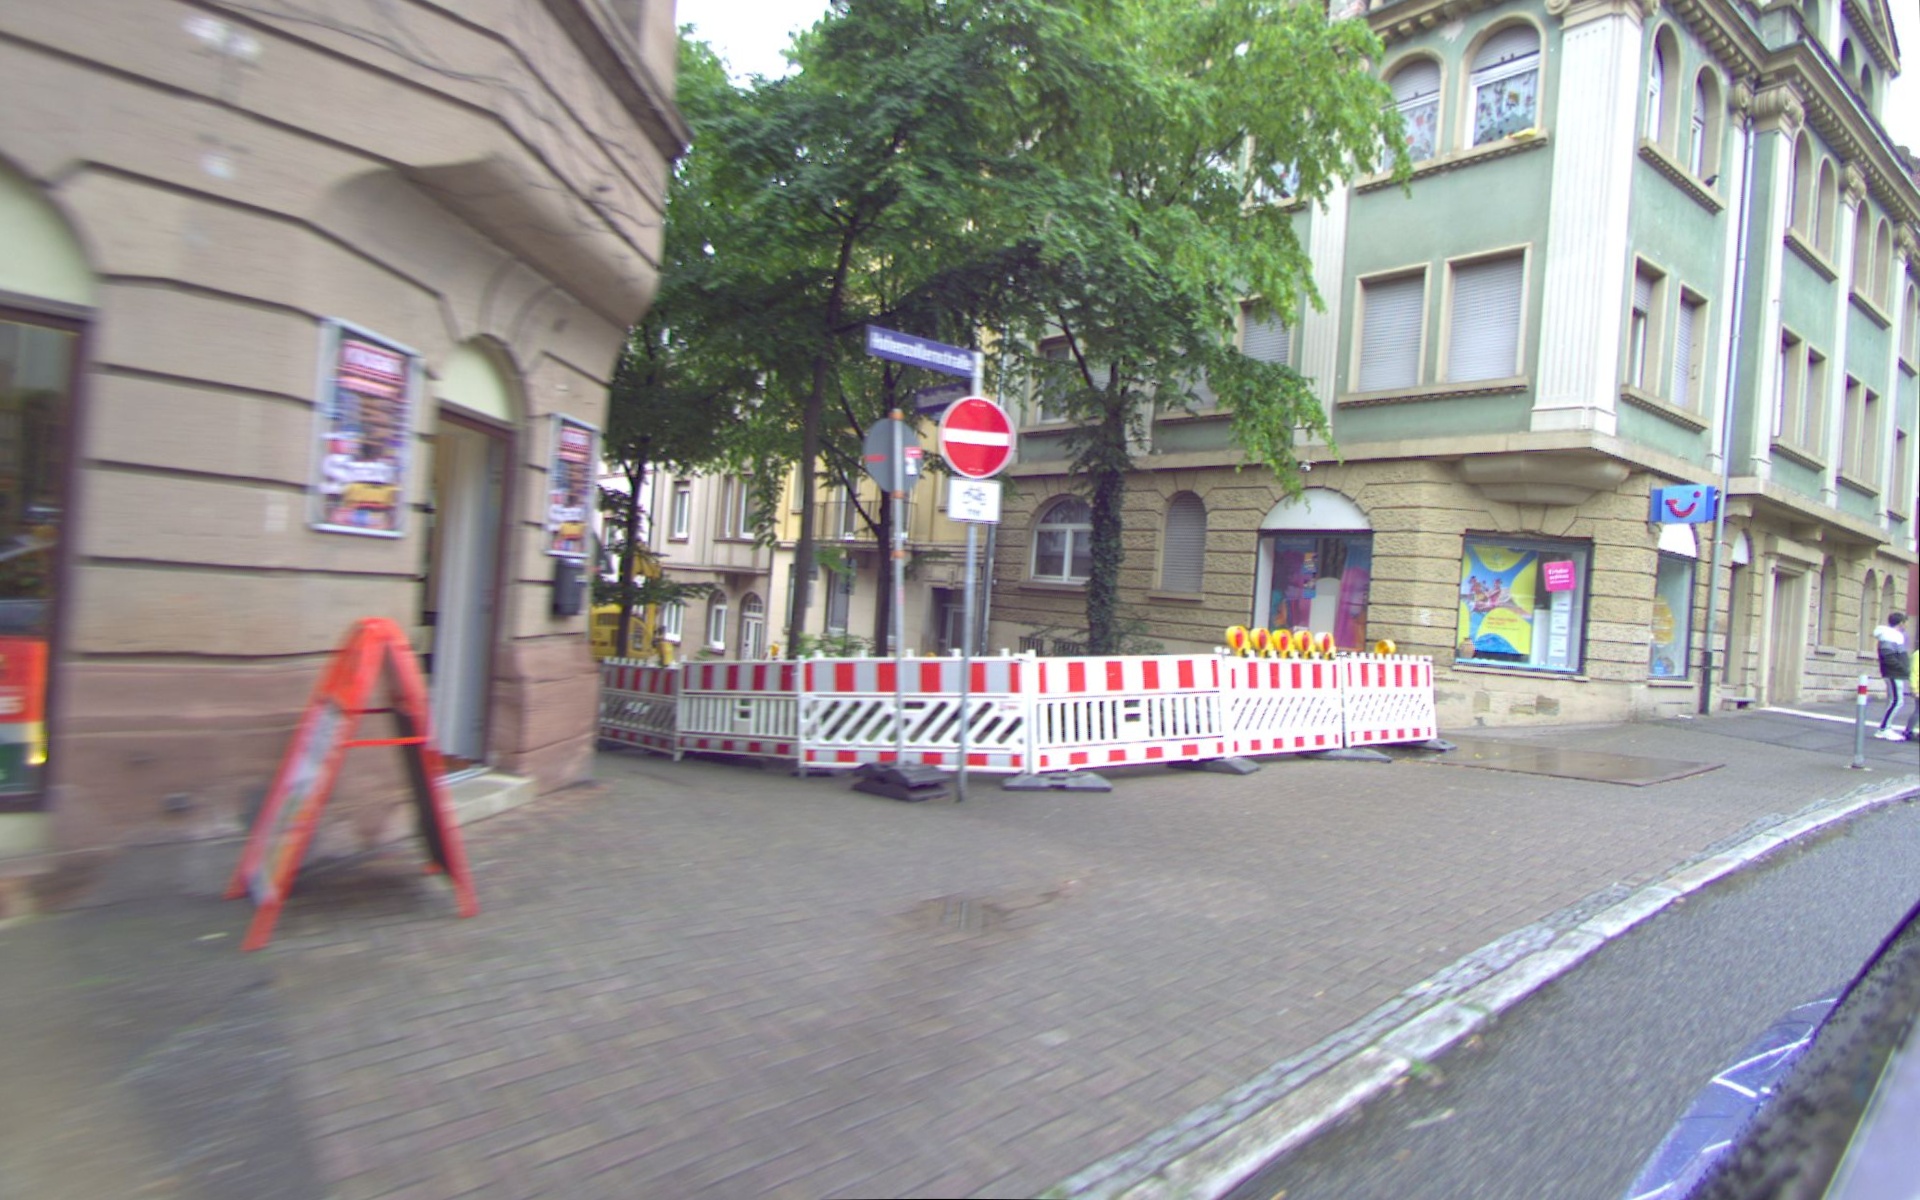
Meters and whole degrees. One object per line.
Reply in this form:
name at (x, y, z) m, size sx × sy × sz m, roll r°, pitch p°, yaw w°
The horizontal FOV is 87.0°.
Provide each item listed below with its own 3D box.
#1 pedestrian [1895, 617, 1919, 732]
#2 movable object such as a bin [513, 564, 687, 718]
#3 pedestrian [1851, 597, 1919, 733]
pedestrian at (13.860, 1.077, 14.271) m, size 0.588 × 1.604 × 0.664 m, roll 5°, pitch 2°, yaw 6°
movable object such as a bin at (-7.819, 0.837, 22.471) m, size 2.465 × 3.001 × 4.002 m, roll 2°, pitch 0°, yaw -3°
pedestrian at (13.015, 0.889, 14.049) m, size 0.706 × 1.796 × 0.666 m, roll 3°, pitch 2°, yaw -32°
